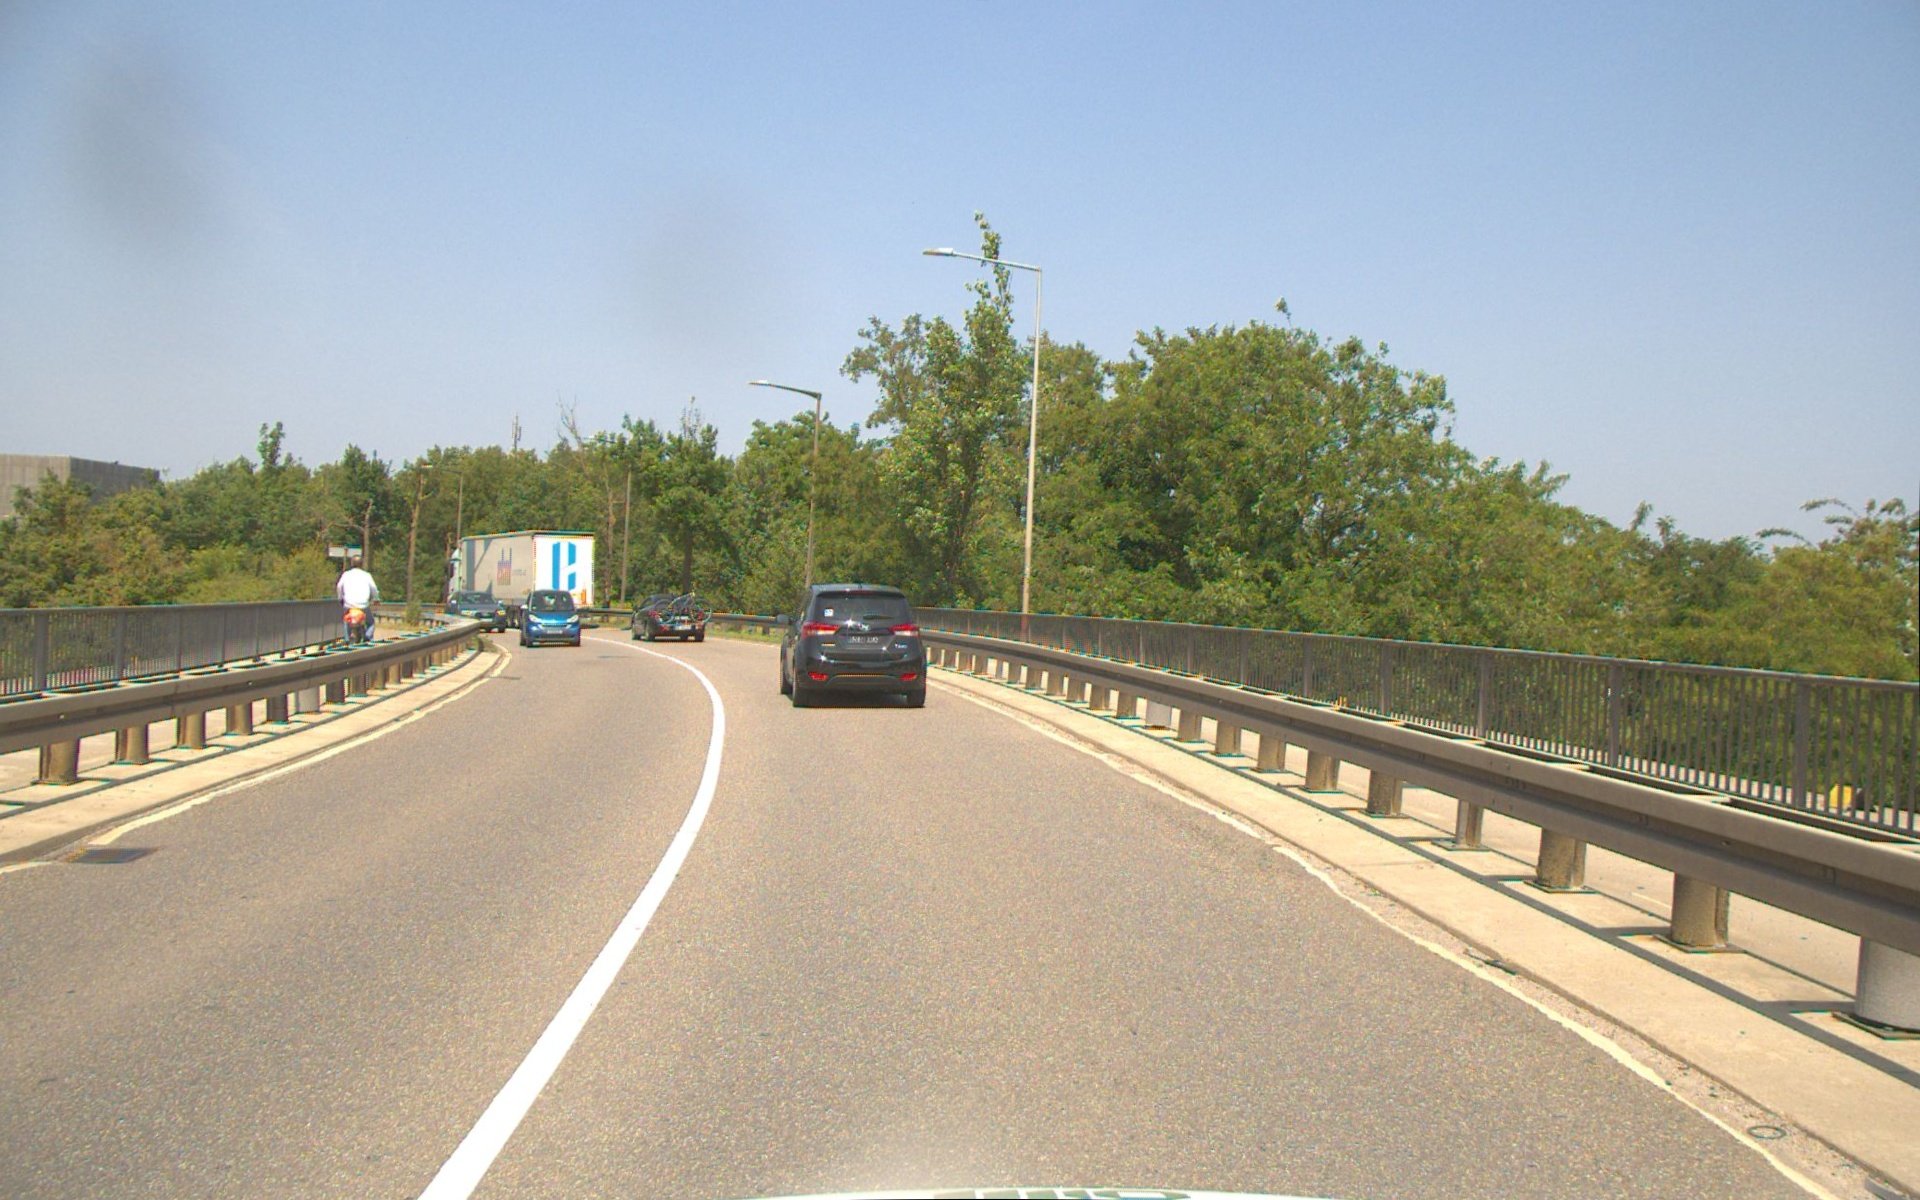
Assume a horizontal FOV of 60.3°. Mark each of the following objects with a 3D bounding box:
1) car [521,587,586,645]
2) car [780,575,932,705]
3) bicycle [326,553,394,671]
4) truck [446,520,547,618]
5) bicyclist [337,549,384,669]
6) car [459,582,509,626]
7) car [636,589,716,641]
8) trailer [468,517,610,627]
[{"bbox_3d":[-11.319,0.428,45.935,1.572,1.512,2.735,1,1,-18],"label":"car"},{"bbox_3d":[-1.519,0.480,22.834,1.885,1.601,3.886,1,1,-7],"label":"car"},{"bbox_3d":[-9.774,0.167,27.013,0.685,1.833,2.175,1,1,-11],"label":"bicycle"},{"bbox_3d":[-22.453,-1.517,79.910,3.530,4.518,6.459,0,1,-27],"label":"truck"},{"bbox_3d":[-9.717,0.143,26.827,0.613,1.919,0.710,1,1,-12],"label":"bicyclist"},{"bbox_3d":[-18.276,0.116,63.436,1.794,1.563,4.176,1,1,-17],"label":"car"},{"bbox_3d":[-8.642,0.425,50.092,1.979,1.454,3.760,1,1,-16],"label":"car"},{"bbox_3d":[-18.700,-1.273,72.786,3.529,4.460,11.337,0,1,-28],"label":"trailer"}]
